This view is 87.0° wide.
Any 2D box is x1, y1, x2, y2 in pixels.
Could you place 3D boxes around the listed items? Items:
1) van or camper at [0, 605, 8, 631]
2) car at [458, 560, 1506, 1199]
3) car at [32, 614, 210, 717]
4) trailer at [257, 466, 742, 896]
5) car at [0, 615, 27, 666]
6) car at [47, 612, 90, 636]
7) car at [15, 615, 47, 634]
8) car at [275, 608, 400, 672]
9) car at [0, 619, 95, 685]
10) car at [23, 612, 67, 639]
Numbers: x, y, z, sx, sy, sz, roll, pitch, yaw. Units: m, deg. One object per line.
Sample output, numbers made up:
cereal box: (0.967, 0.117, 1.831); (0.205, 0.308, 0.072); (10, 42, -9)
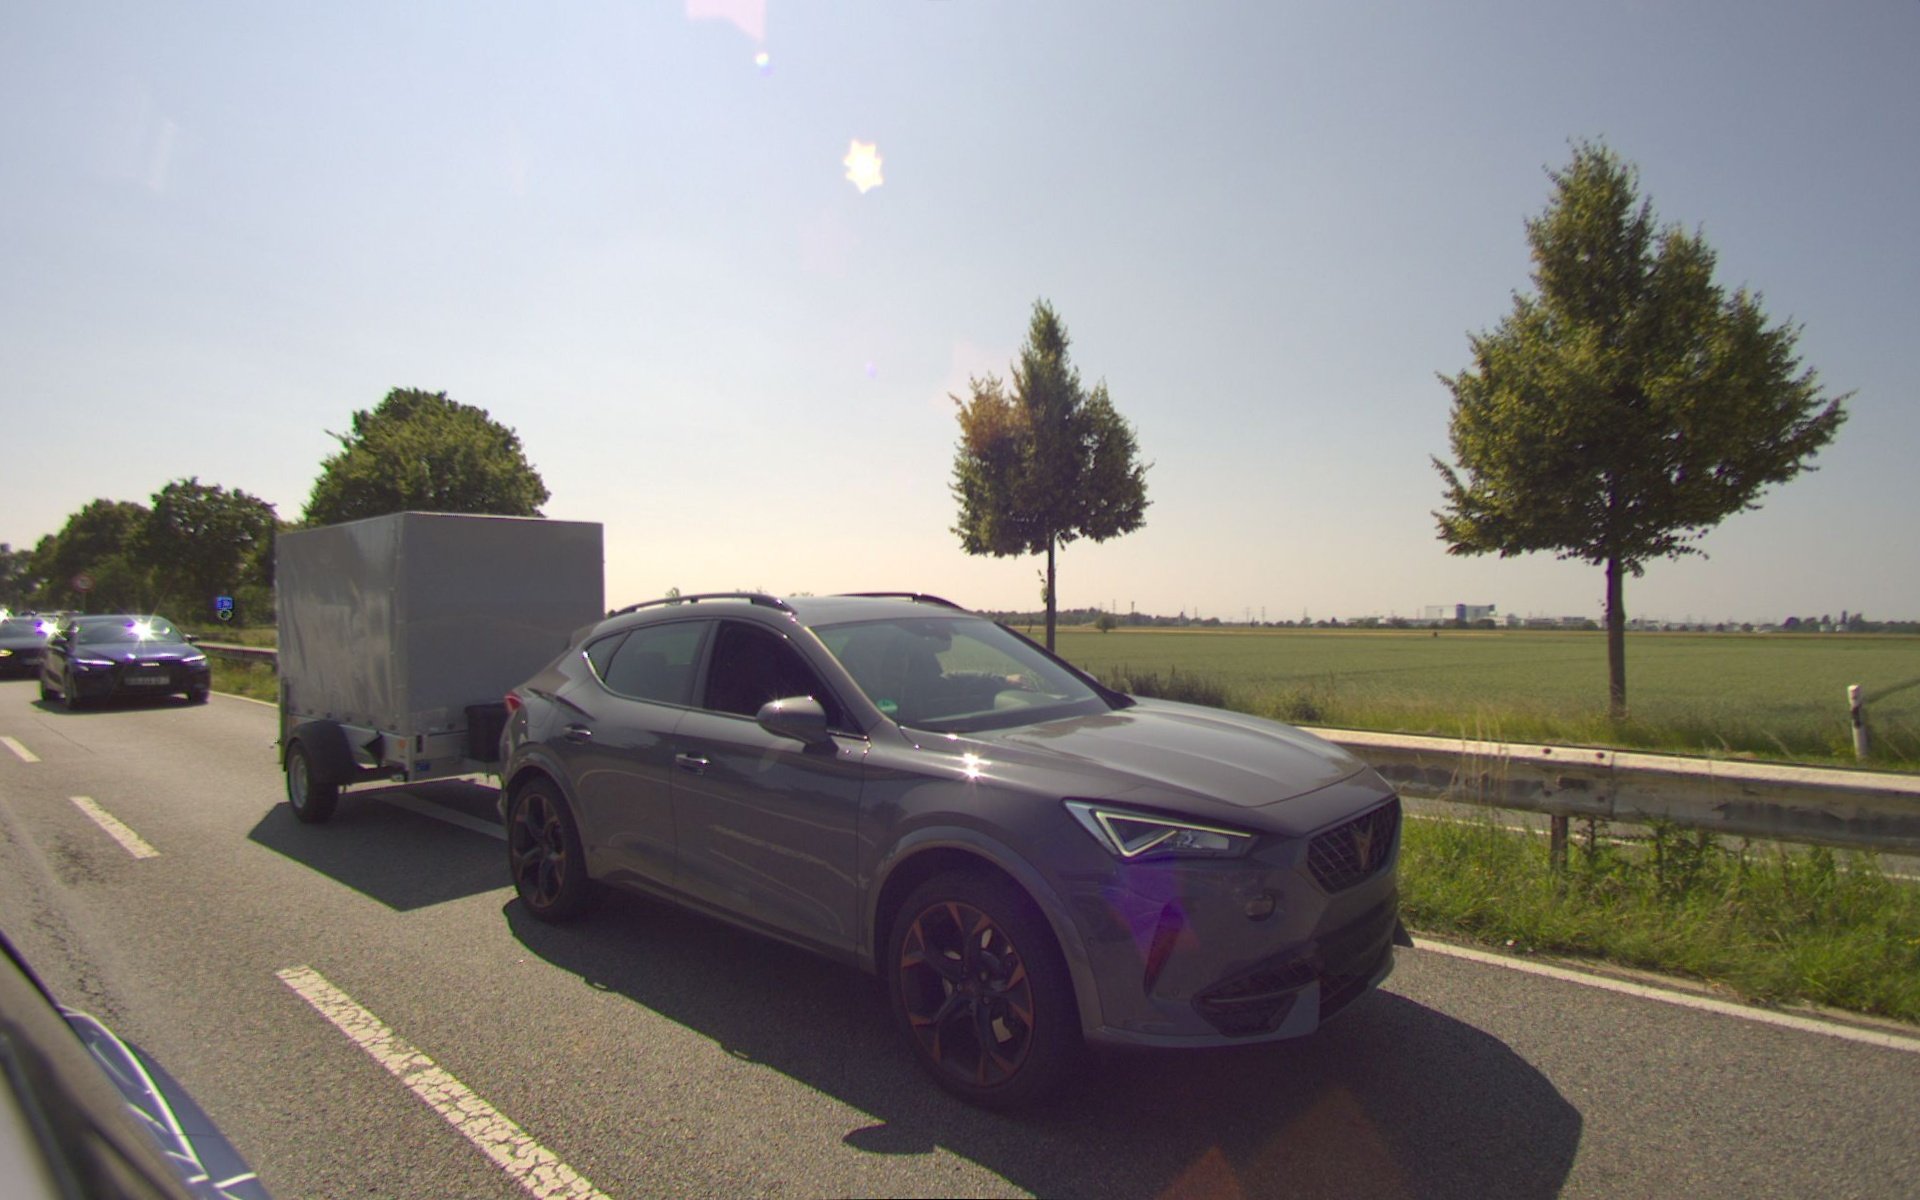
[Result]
van or camper: (-118.519, 2.192, 123.876); (5.692, 3.123, 2.239); (-1, -2, 41)
car: (-0.327, 0.702, 4.283); (4.361, 1.514, 1.727); (-1, -1, 42)
car: (-13.920, 0.993, 16.721); (4.029, 1.476, 1.699); (-1, -1, 42)
trailer: (-3.424, 0.441, 7.093); (4.171, 2.190, 1.485); (-1, -1, 41)
car: (-30.235, 1.228, 31.204); (4.100, 1.527, 1.835); (-1, -1, 43)
car: (-73.919, 1.989, 83.902); (5.013, 1.945, 1.973); (-1, -2, 41)
car: (-95.462, 2.502, 103.943); (4.694, 1.870, 1.838); (-1, -2, 41)
car: (-17.087, 1.065, 27.708); (4.133, 1.630, 1.727); (-1, -2, 41)
car: (-21.822, 1.163, 23.790); (4.454, 1.391, 1.722); (-1, 0, 42)
car: (-57.864, 1.638, 63.994); (4.136, 1.651, 1.726); (-1, -2, 43)
